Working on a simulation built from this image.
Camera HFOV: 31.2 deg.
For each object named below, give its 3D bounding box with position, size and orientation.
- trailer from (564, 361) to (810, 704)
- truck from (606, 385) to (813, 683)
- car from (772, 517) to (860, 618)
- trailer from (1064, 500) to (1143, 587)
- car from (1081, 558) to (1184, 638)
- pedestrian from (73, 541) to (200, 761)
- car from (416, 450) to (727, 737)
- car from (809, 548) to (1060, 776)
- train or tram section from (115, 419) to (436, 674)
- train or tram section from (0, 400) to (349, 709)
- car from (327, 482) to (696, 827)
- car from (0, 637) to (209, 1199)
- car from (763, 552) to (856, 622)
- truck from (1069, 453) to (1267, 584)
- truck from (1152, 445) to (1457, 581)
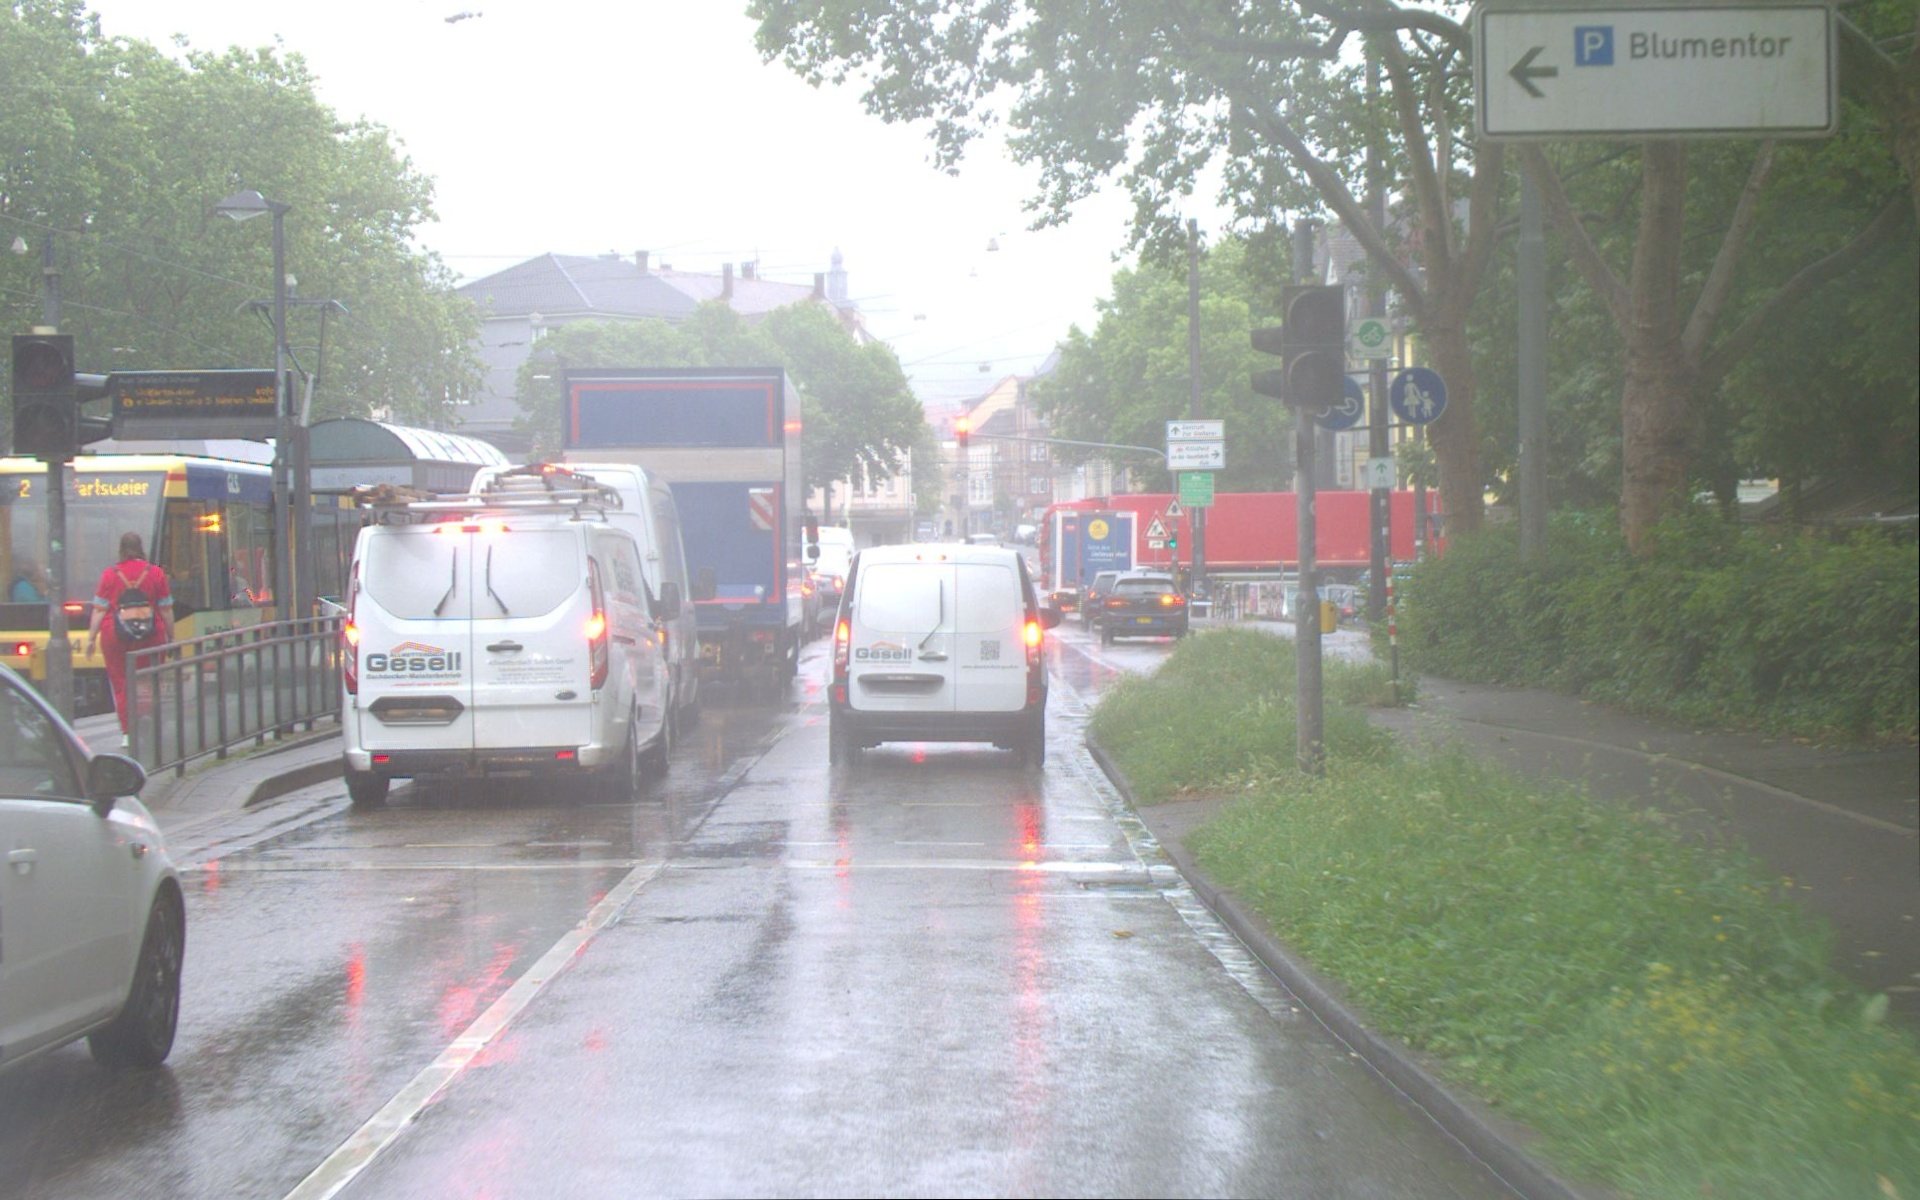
[{"bbox_3d":[-3.266,-0.833,42.908,2.590,3.886,7.637,0,1,-1],"label":"trailer"},{"bbox_3d":[-3.359,-0.899,46.998,2.580,3.891,4.000,0,1,-1],"label":"truck"},{"bbox_3d":[-3.547,-0.813,85.578,1.993,2.434,4.612,1,0,0],"label":"car"},{"bbox_3d":[3.965,-1.528,94.656,1.994,2.309,4.667,0,0,4],"label":"trailer"},{"bbox_3d":[3.530,-0.069,69.847,1.994,1.536,4.000,-1,1,4],"label":"car"},{"bbox_3d":[-6.532,0.403,27.299,0.790,1.709,0.771,1,-1,-1],"label":"pedestrian"},{"bbox_3d":[-3.677,-0.054,33.743,2.329,2.548,6.114,0,0,0],"label":"car"},{"bbox_3d":[-0.206,0.489,28.726,1.959,1.771,3.570,0,0,0],"label":"car"},{"bbox_3d":[-9.754,-0.830,49.987,2.979,3.274,8.432,-2,2,-1],"label":"train or tram section"},{"bbox_3d":[-9.623,-0.597,41.587,2.961,3.274,8.361,-2,2,-1],"label":"train or tram section"},{"bbox_3d":[-3.148,0.365,25.211,1.993,2.254,5.288,0,0,0],"label":"car"},{"bbox_3d":[-3.339,0.861,9.437,1.725,1.474,3.805,0,0,0],"label":"car"},{"bbox_3d":[-3.475,-0.318,80.061,1.993,1.573,4.292,1,0,0],"label":"car"},{"bbox_3d":[8.282,-3.255,136.552,7.162,4.883,3.287,-2,2,16],"label":"truck"},{"bbox_3d":[13.536,-3.408,135.008,11.371,4.883,3.287,-2,2,16],"label":"truck"}]
